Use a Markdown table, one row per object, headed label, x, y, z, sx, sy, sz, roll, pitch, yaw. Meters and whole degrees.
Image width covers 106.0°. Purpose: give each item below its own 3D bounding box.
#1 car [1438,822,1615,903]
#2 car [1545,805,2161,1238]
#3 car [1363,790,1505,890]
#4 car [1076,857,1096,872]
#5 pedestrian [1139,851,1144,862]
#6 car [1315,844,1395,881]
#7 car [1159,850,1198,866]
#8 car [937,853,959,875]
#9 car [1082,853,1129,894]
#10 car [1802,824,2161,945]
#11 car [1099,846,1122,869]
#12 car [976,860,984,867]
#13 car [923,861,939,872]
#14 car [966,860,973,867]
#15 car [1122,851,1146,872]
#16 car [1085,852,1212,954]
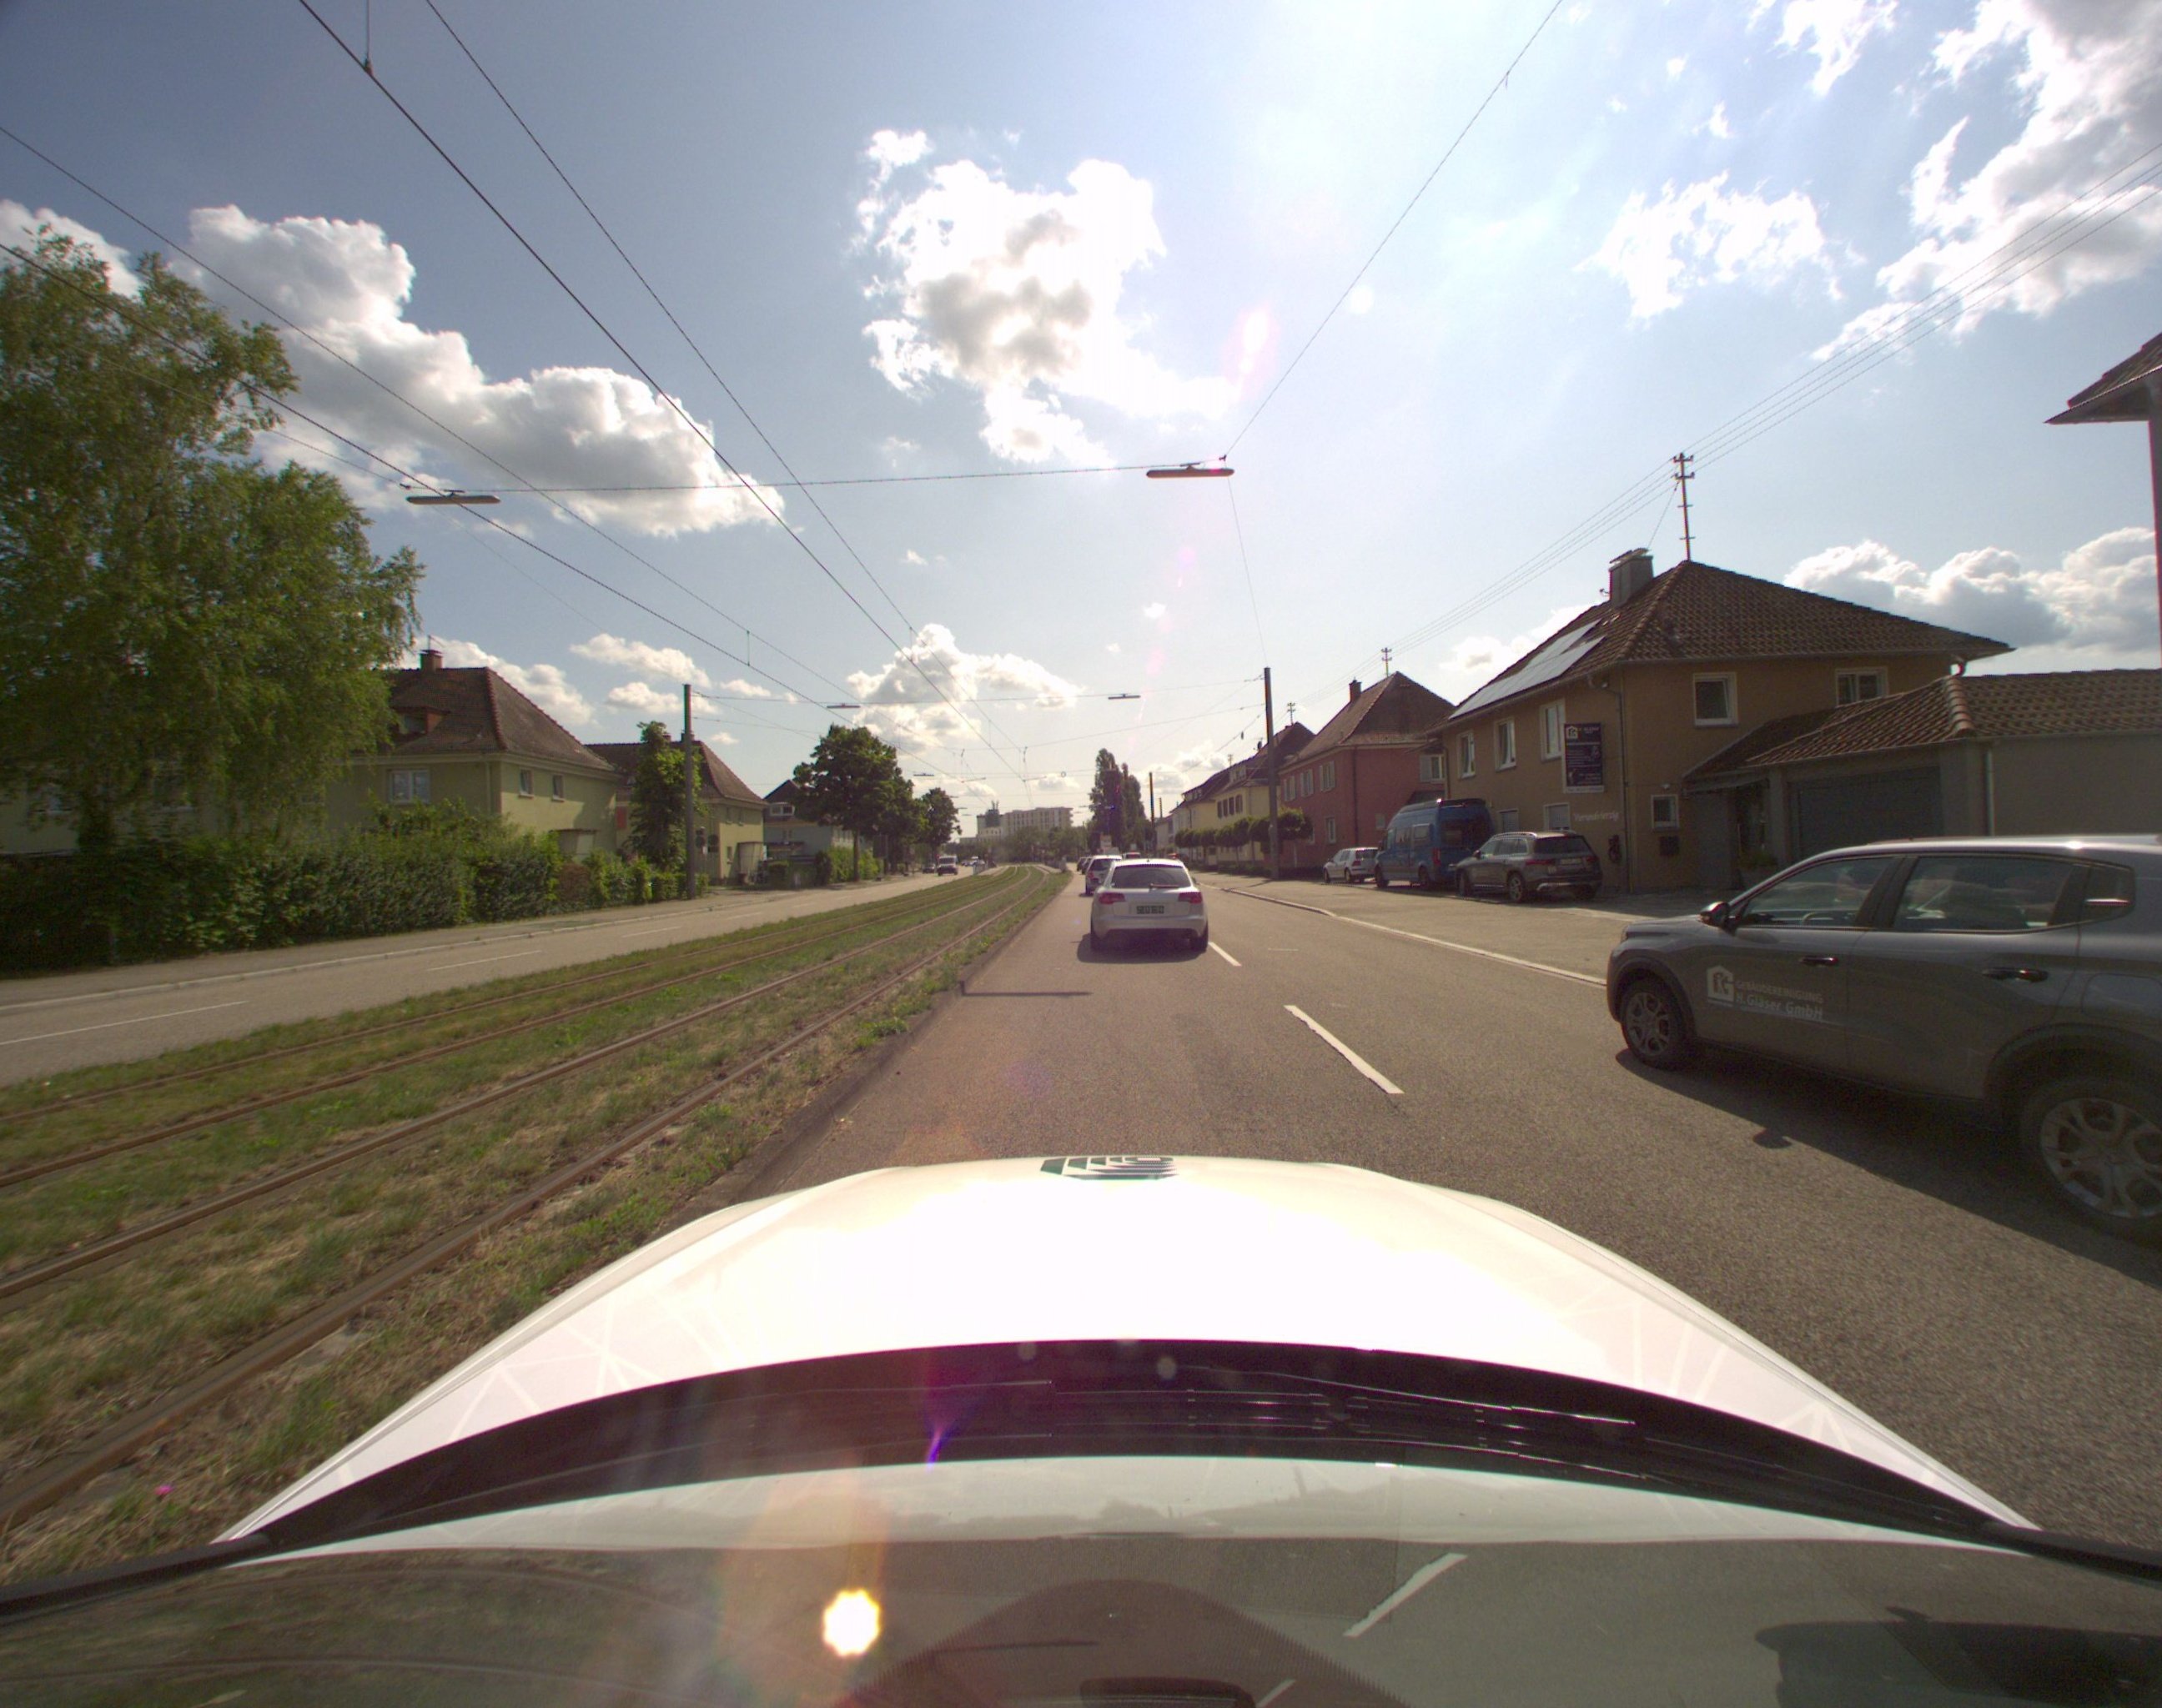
| label | x | y | z | sx | sy | sz | roll | pitch | yaw |
| --- | --- | --- | --- | --- | --- | --- | --- | --- | --- |
| car | 11.228 | 0.185 | 20.999 | 1.830 | 1.711 | 4.864 | -4 | 0 | 0 |
| car | 4.790 | 0.614 | 4.680 | 1.801 | 1.559 | 4.252 | -1 | -1 | 0 |
| car | 11.525 | -0.379 | 27.251 | 2.144 | 2.930 | 6.246 | -1 | -1 | 1 |
| car | 0.536 | 1.053 | 85.134 | 1.878 | 1.530 | 4.096 | -1 | -1 | 2 |
| pedestrian | 10.198 | 0.443 | 137.329 | 0.720 | 1.782 | 0.702 | -4 | 0 | -2 |
| car | 11.388 | 0.364 | 34.144 | 1.645 | 1.409 | 4.345 | -2 | -1 | -3 |
| car | 10.401 | 0.459 | 86.835 | 4.117 | 1.458 | 1.892 | -4 | 2 | -45 |
| car | -15.218 | 1.173 | 93.226 | 2.195 | 2.372 | 5.318 | -3 | -1 | -8 |
| car | 1.006 | 0.751 | 33.166 | 1.780 | 1.577 | 4.095 | 0 | 0 | 1 |
| car | 12.083 | 0.373 | 10.734 | 3.638 | 1.380 | 1.726 | -2 | -1 | -1 |
| car | 3.406 | 0.371 | 94.861 | 2.037 | 2.557 | 5.222 | -2 | 0 | -5 |
| car | -24.431 | 2.272 | 196.982 | 1.895 | 1.541 | 3.719 | 0 | -1 | -8 |
| car | -21.971 | 1.837 | 119.358 | 1.782 | 1.584 | 3.927 | -2 | 0 | -2 |
| car | -28.465 | 2.496 | 207.869 | 1.862 | 1.651 | 3.988 | 0 | -1 | -8 |
| car | 4.597 | 0.610 | 70.429 | 1.876 | 1.731 | 4.100 | -2 | 0 | 5 |
| car | 1.156 | 0.740 | 14.380 | 1.846 | 1.492 | 4.540 | -1 | 0 | 4 |
